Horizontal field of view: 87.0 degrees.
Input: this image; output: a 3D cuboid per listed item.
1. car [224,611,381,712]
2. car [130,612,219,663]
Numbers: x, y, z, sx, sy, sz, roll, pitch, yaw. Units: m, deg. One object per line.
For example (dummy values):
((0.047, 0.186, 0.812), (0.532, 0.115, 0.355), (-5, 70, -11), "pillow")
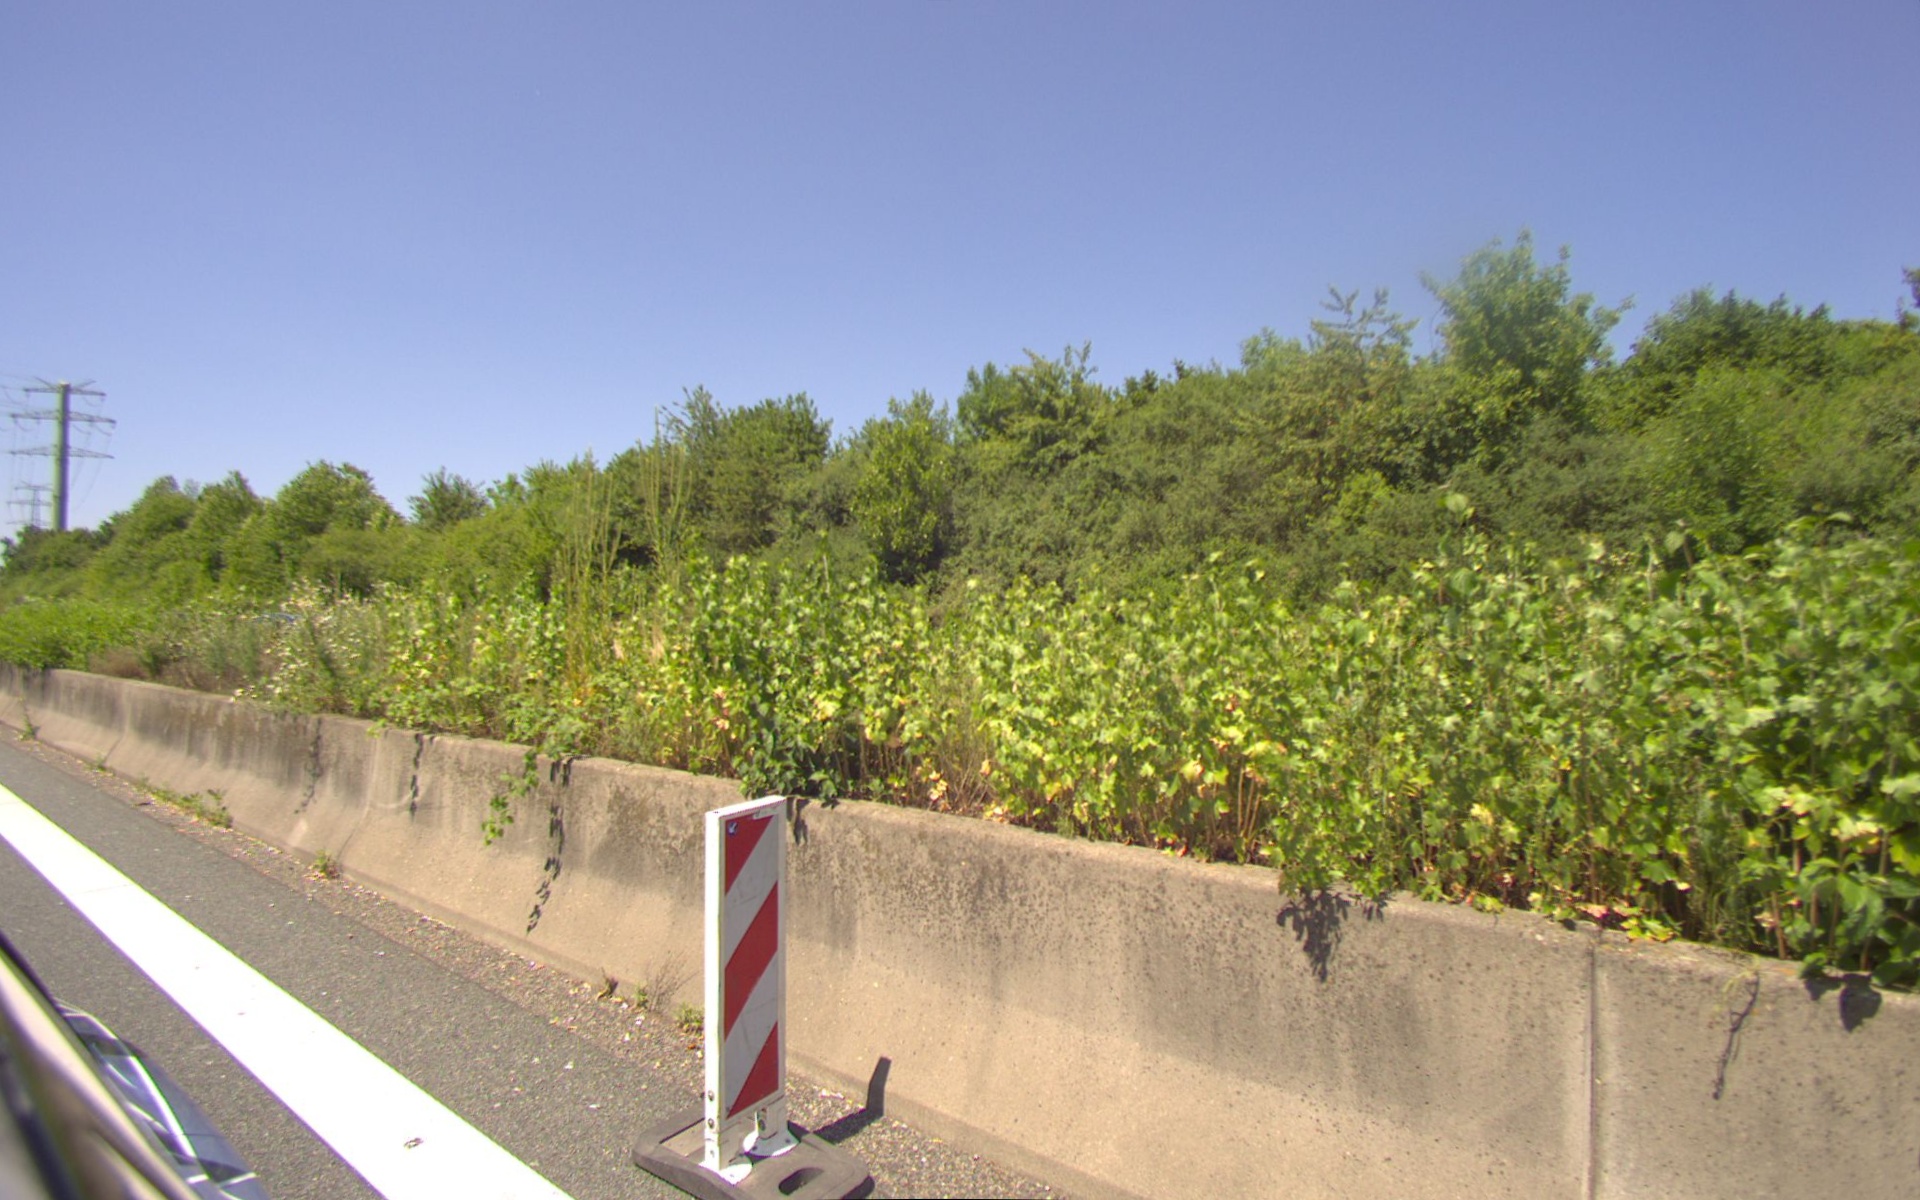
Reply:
((-14.539, 1.294, 22.315), (3.997, 2.029, 1.810), (-1, -2, 40), "car")
((-33.037, 1.553, 42.514), (4.405, 2.029, 1.942), (-1, -2, 38), "car")
